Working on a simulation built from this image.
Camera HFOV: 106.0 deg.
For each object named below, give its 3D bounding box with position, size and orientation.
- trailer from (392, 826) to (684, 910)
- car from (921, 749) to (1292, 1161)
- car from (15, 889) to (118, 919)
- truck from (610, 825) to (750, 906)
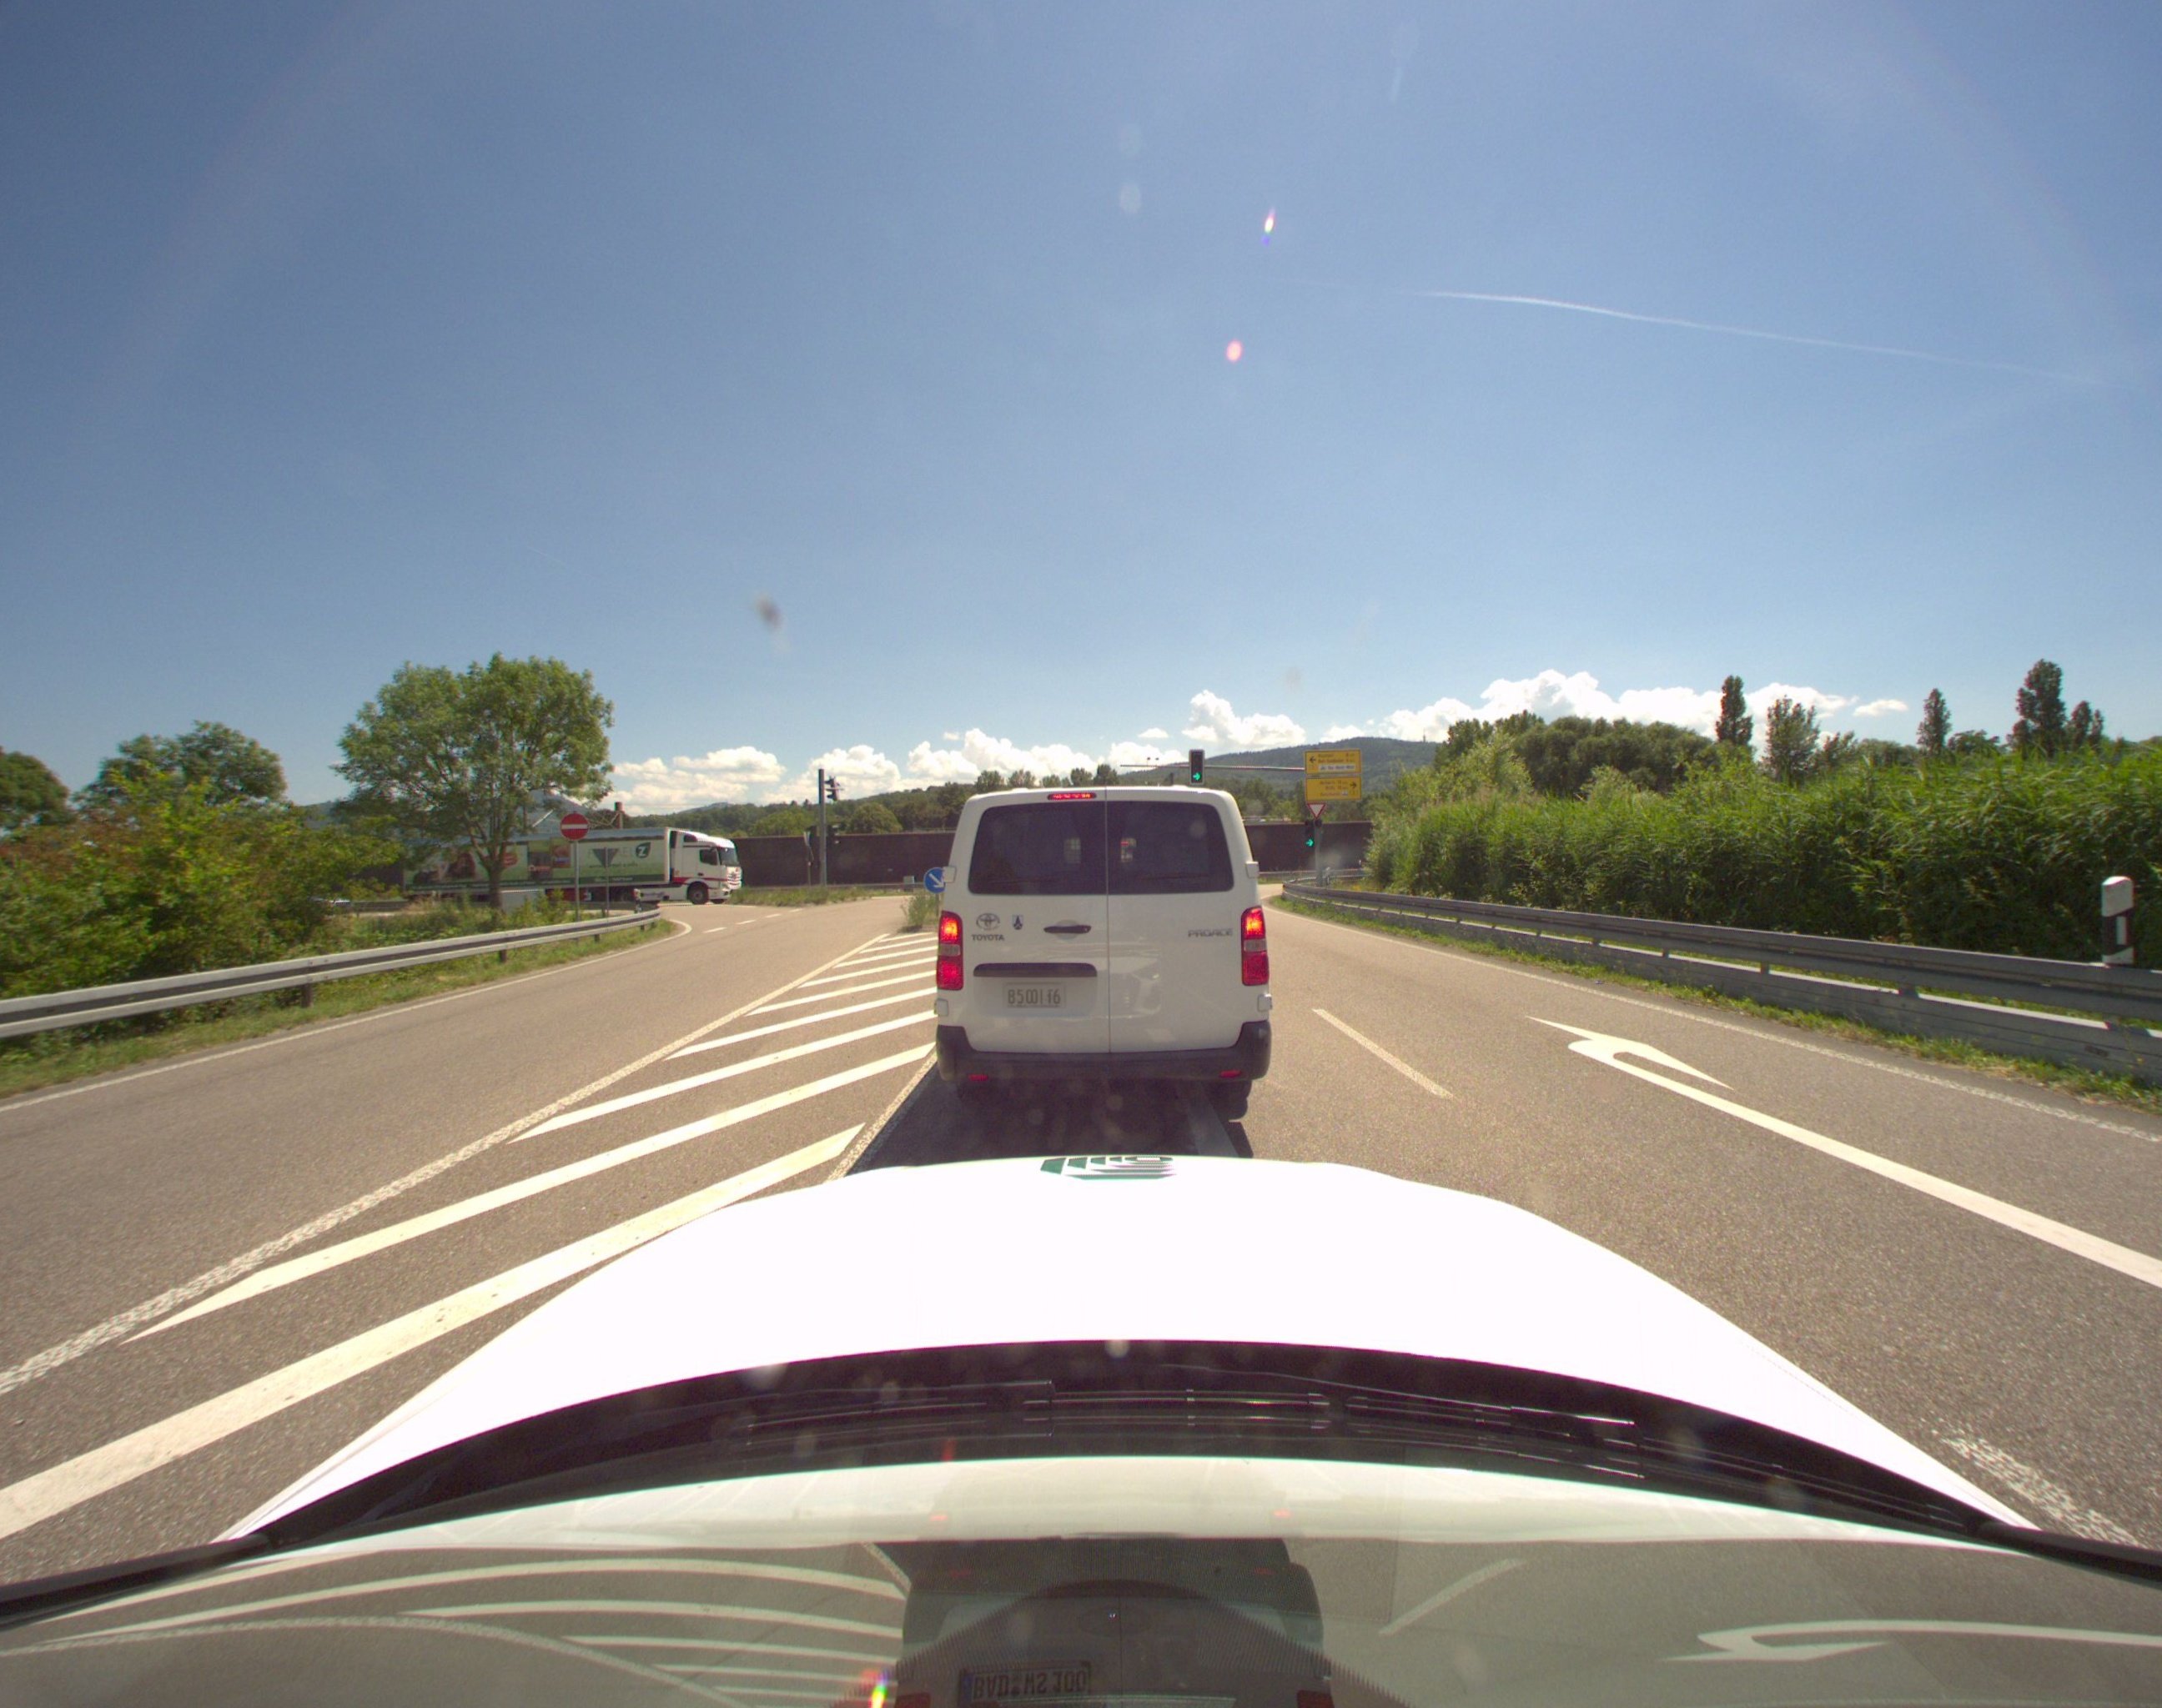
[{"bbox_3d":[-28.217,0.734,42.729,13.098,3.954,3.061,-1,-1,0],"label":"trailer"},{"bbox_3d":[0.183,0.518,6.050,1.808,2.017,4.001,-1,-1,2],"label":"car"},{"bbox_3d":[-53.898,2.645,43.299,3.462,1.464,1.554,-1,-1,0],"label":"car"},{"bbox_3d":[-20.959,0.595,42.785,5.746,3.954,3.062,-1,-1,0],"label":"truck"}]
